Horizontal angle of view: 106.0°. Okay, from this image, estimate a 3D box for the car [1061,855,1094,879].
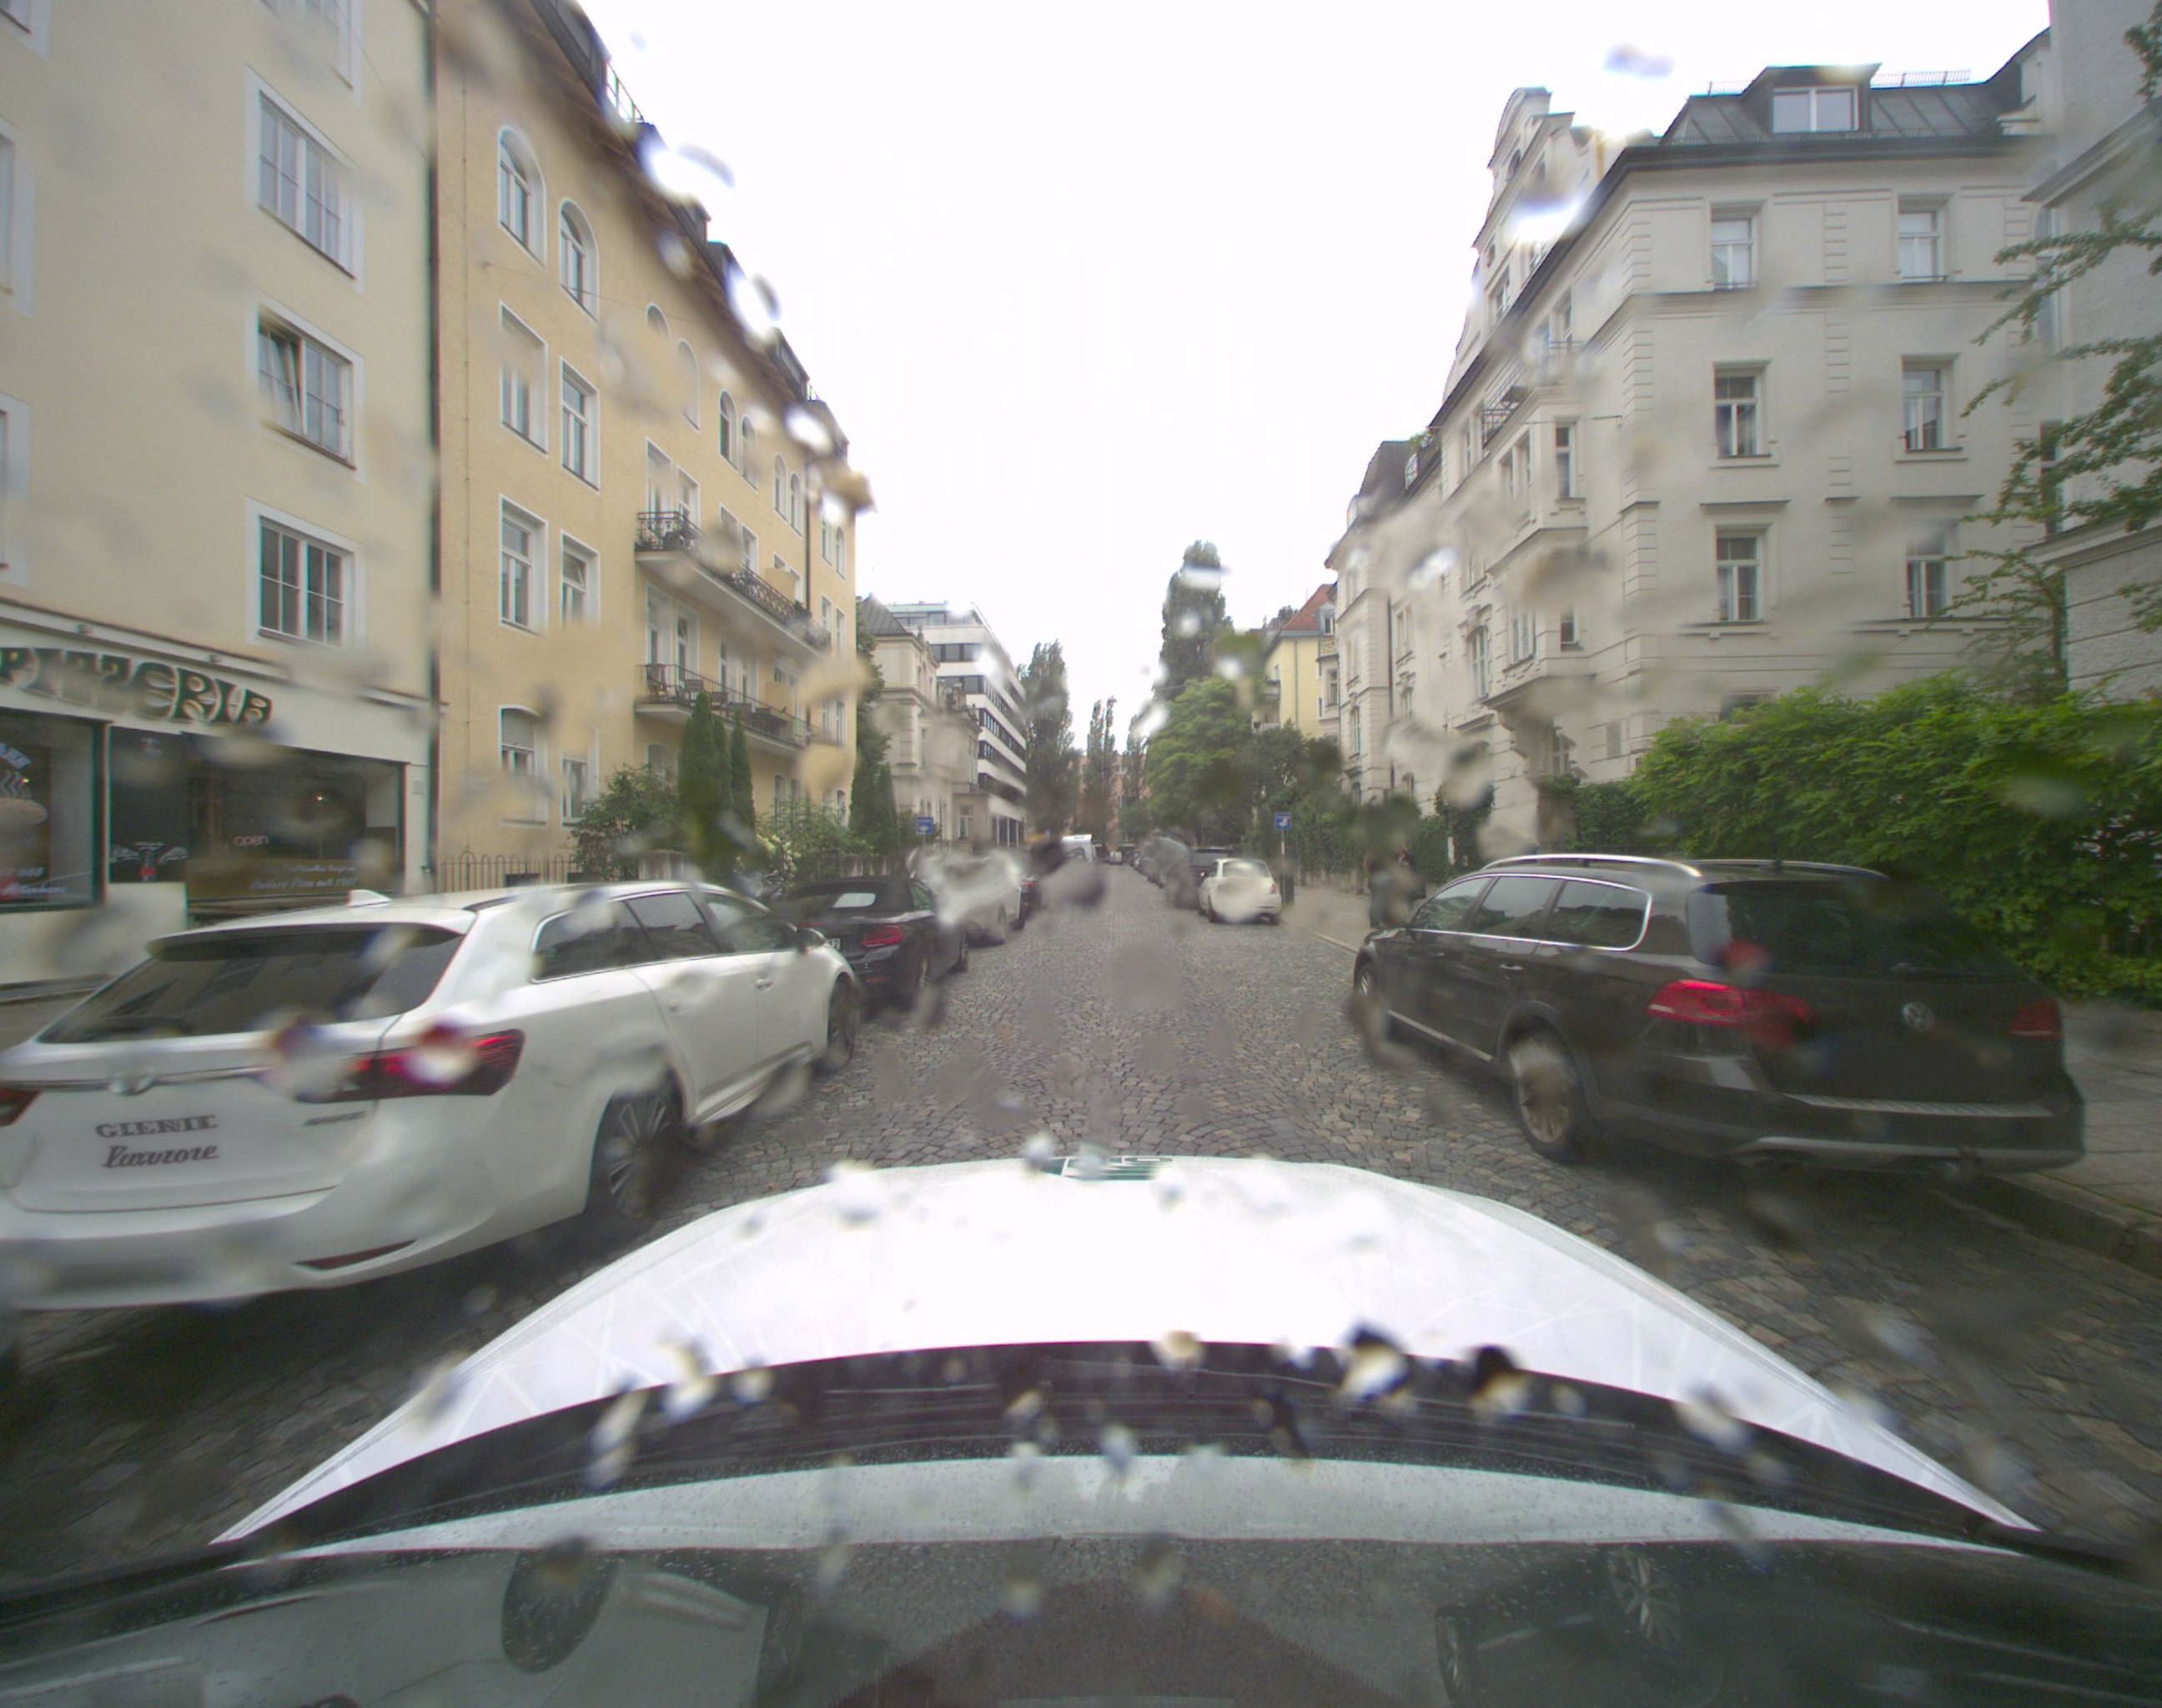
[{"bbox_3d":[-0.200,0.820,51.791,1.933,1.459,4.059,-1,0,1],"label":"car"}]

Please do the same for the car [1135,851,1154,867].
[{"bbox_3d":[5.925,0.460,76.651,1.594,1.486,3.480,-1,0,2],"label":"car"}]

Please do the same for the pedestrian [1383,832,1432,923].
[{"bbox_3d":[6.633,0.468,16.569,0.630,1.808,0.655,-1,-1,-21],"label":"pedestrian"}]

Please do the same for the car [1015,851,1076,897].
[{"bbox_3d":[-1.369,0.756,33.383,1.974,1.737,4.726,-1,0,3],"label":"car"}]

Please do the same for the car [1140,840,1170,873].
[{"bbox_3d":[5.790,0.181,64.212,1.888,2.426,5.613,2,1,2],"label":"car"}]

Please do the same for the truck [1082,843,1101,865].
[{"bbox_3d":[1.243,0.037,91.975,1.986,2.346,4.070,-1,0,2],"label":"truck"}]

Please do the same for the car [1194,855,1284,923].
[{"bbox_3d":[3.751,0.792,19.877,1.624,1.469,3.661,1,0,2],"label":"car"}]

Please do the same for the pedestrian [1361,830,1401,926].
[{"bbox_3d":[5.951,0.466,16.180,0.572,1.850,0.683,-1,0,7],"label":"pedestrian"}]

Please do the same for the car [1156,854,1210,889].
[{"bbox_3d":[4.461,0.748,36.187,1.768,1.429,4.388,-1,0,-1],"label":"car"}]

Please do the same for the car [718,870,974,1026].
[{"bbox_3d":[-2.472,0.917,9.748,1.768,1.359,4.390,-1,0,0],"label":"car"}]

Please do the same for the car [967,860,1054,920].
[{"bbox_3d":[-1.790,0.886,21.938,1.766,1.429,4.393,-1,0,2],"label":"car"}]

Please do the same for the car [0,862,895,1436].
[{"bbox_3d":[-2.602,0.888,4.618,1.767,1.536,4.543,-5,-1,2],"label":"car"}]

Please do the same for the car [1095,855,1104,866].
[{"bbox_3d":[2.644,0.932,117.698,1.271,1.541,3.120,-1,0,2],"label":"car"}]

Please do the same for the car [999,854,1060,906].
[{"bbox_3d":[-1.714,0.846,28.288,1.573,1.590,4.059,-3,-1,3],"label":"car"}]

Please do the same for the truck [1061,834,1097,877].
[{"bbox_3d":[-0.101,0.053,63.108,2.499,3.031,6.386,-3,0,1],"label":"truck"}]

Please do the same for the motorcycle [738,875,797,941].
[{"bbox_3d":[-6.175,1.028,16.098,0.489,1.194,1.580,-1,0,2],"label":"motorcycle"}]

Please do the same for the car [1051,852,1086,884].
[{"bbox_3d":[-0.663,0.790,46.456,1.767,1.717,4.392,-1,0,1],"label":"car"}]

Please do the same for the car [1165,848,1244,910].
[{"bbox_3d":[3.700,0.702,25.235,1.867,1.673,5.495,-1,0,3],"label":"car"}]

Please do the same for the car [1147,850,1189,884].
[{"bbox_3d":[4.783,0.688,45.574,1.956,1.759,4.956,-1,0,2],"label":"car"}]

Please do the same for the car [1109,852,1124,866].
[{"bbox_3d":[5.097,0.681,115.477,1.988,1.936,4.004,-1,0,4],"label":"car"}]

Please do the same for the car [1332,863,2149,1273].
[{"bbox_3d":[3.147,0.809,5.316,1.642,1.422,4.633,2,0,1],"label":"car"}]

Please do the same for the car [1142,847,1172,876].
[{"bbox_3d":[5.383,0.553,58.412,1.793,1.949,4.862,2,0,2],"label":"car"}]

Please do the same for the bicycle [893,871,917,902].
[{"bbox_3d":[-5.931,1.084,27.525,0.350,1.003,1.574,-1,0,4],"label":"bicycle"}]

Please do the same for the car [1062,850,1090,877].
[{"bbox_3d":[-0.323,0.644,56.988,1.887,1.751,4.168,-1,0,1],"label":"car"}]

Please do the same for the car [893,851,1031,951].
[{"bbox_3d":[-2.121,0.799,15.733,1.766,1.647,4.395,-1,0,3],"label":"car"}]
